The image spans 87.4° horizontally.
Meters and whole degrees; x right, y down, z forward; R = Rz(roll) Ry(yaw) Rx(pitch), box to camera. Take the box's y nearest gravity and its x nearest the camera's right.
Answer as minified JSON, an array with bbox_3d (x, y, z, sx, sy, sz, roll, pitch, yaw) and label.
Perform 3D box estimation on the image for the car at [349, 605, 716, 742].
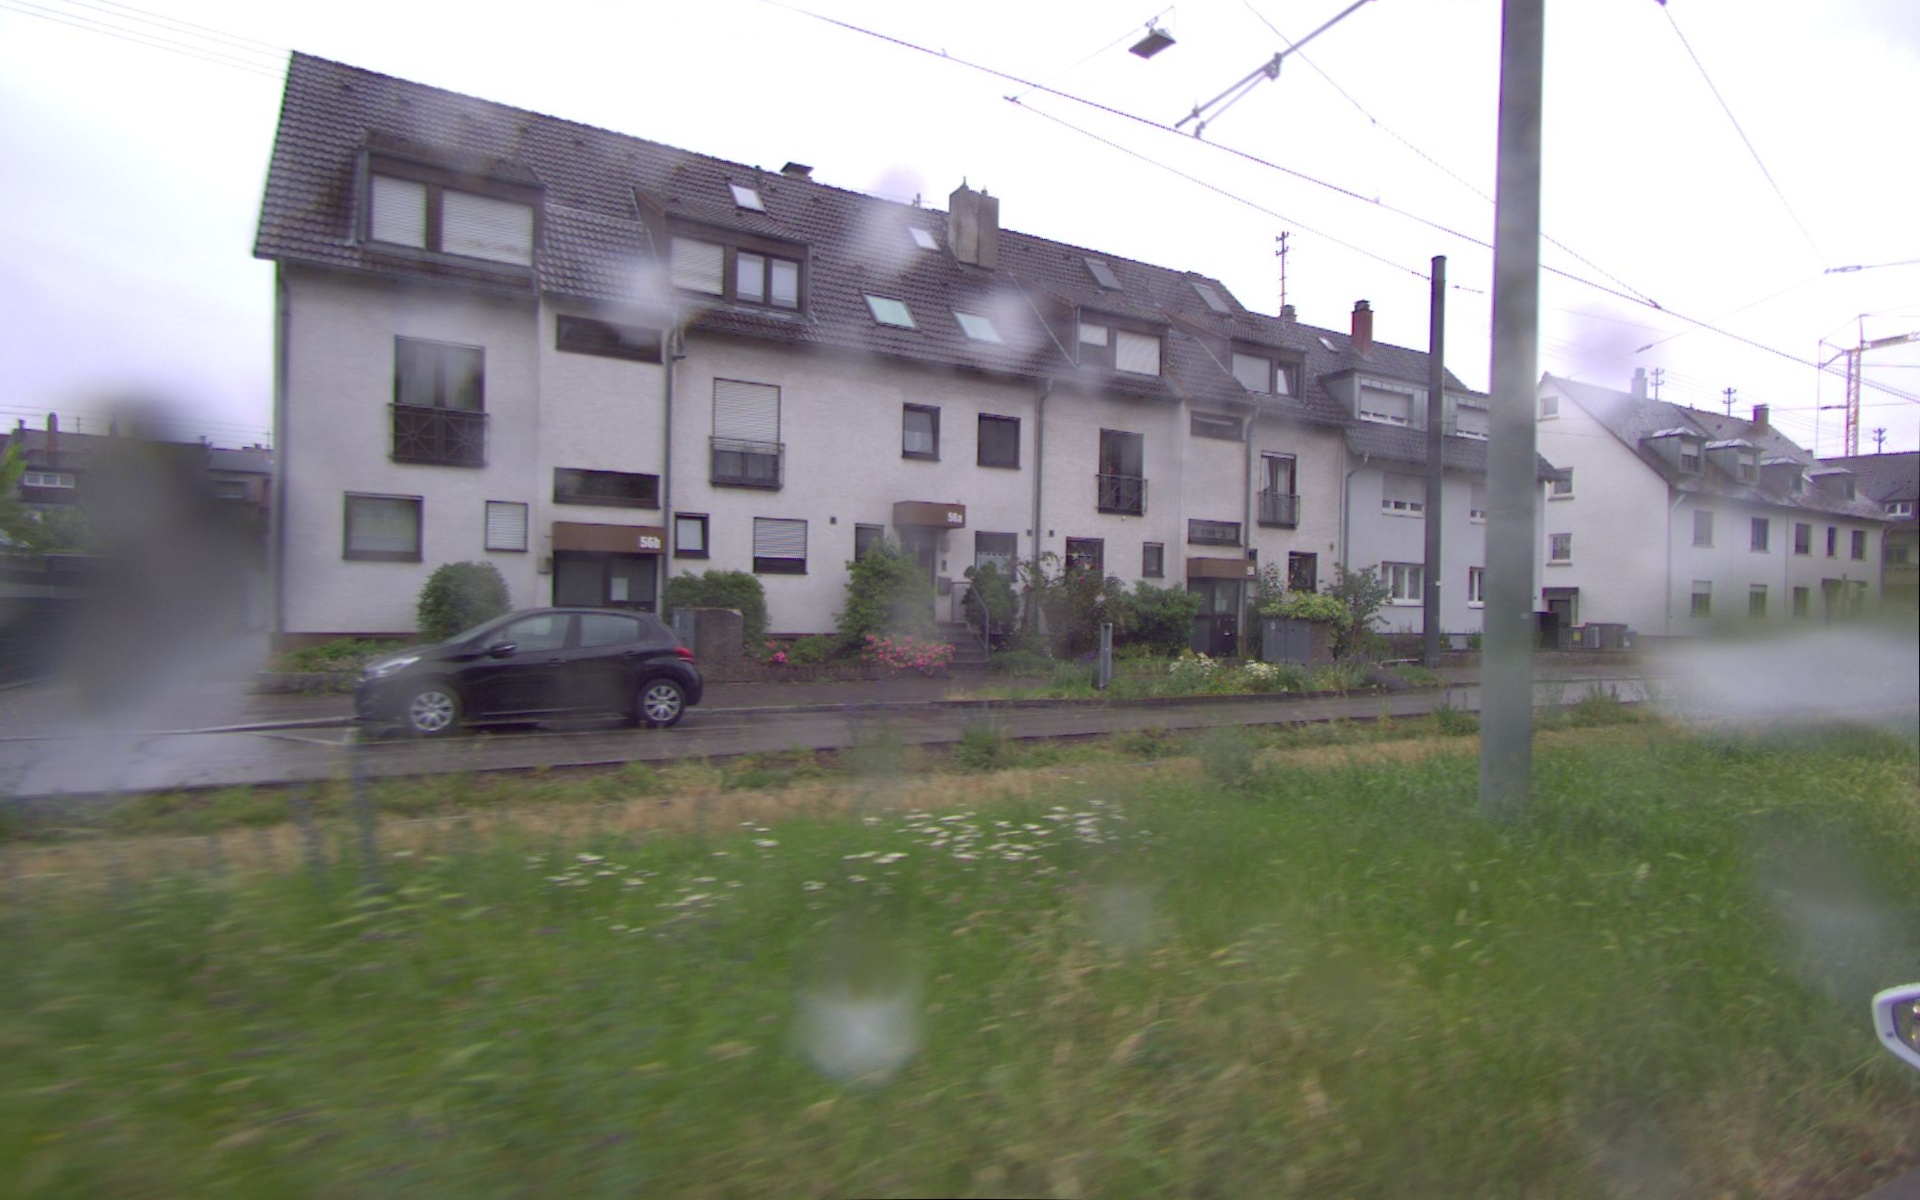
[{"bbox_3d":[-5.164,0.826,12.341,3.890,1.445,1.765,1,-1,-30],"label":"car"}]
